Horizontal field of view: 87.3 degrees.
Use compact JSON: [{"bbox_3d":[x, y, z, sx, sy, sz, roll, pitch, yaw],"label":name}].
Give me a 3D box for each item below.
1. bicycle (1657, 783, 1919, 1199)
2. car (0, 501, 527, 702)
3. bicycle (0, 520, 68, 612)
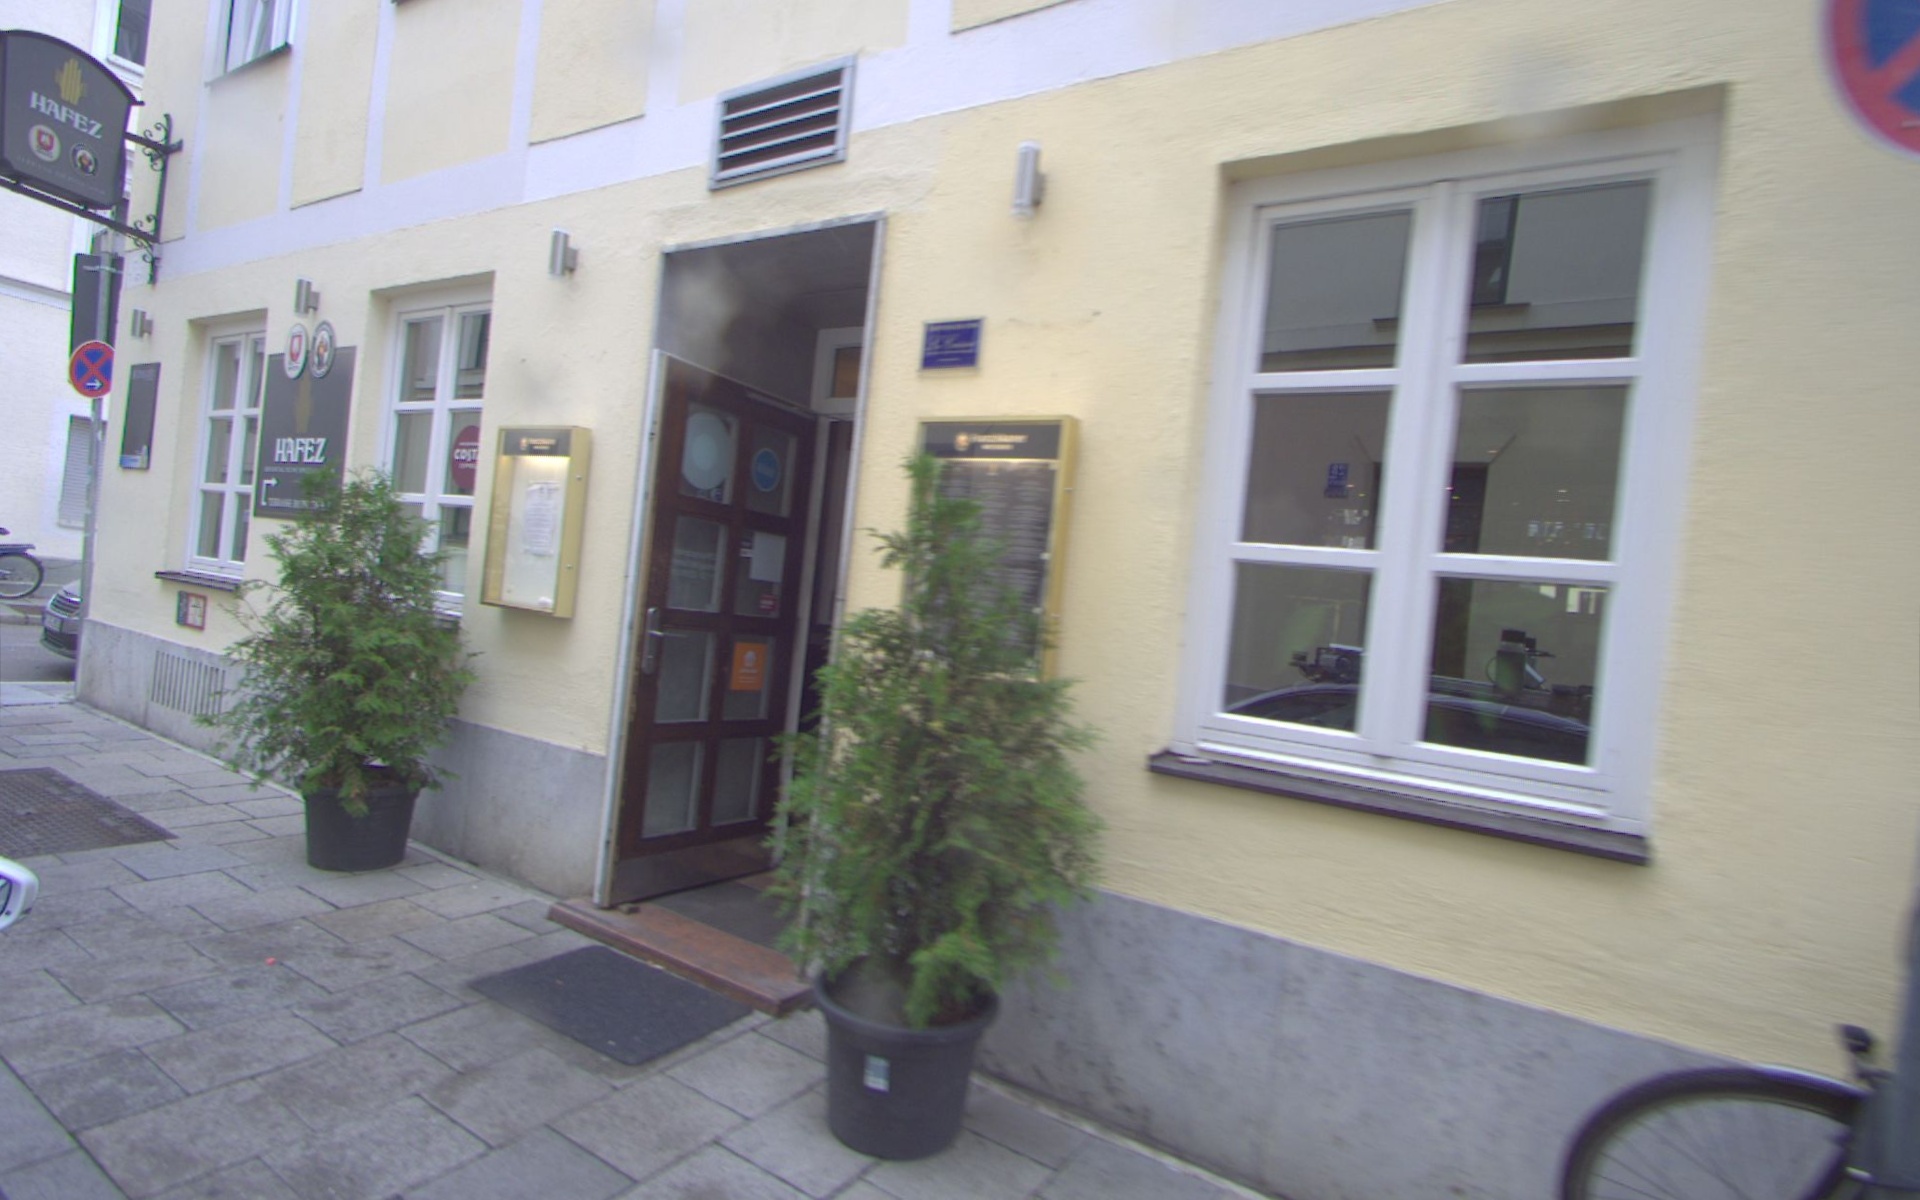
[{"bbox_3d":[1.853,0.971,1.177,1.657,1.152,0.565,6,2,34],"label":"bicycle"},{"bbox_3d":[-6.888,0.130,10.381,1.736,1.458,4.020,9,-1,35],"label":"car"},{"bbox_3d":[-13.232,-0.509,13.469,0.576,1.158,1.759,9,1,33],"label":"bicycle"}]
